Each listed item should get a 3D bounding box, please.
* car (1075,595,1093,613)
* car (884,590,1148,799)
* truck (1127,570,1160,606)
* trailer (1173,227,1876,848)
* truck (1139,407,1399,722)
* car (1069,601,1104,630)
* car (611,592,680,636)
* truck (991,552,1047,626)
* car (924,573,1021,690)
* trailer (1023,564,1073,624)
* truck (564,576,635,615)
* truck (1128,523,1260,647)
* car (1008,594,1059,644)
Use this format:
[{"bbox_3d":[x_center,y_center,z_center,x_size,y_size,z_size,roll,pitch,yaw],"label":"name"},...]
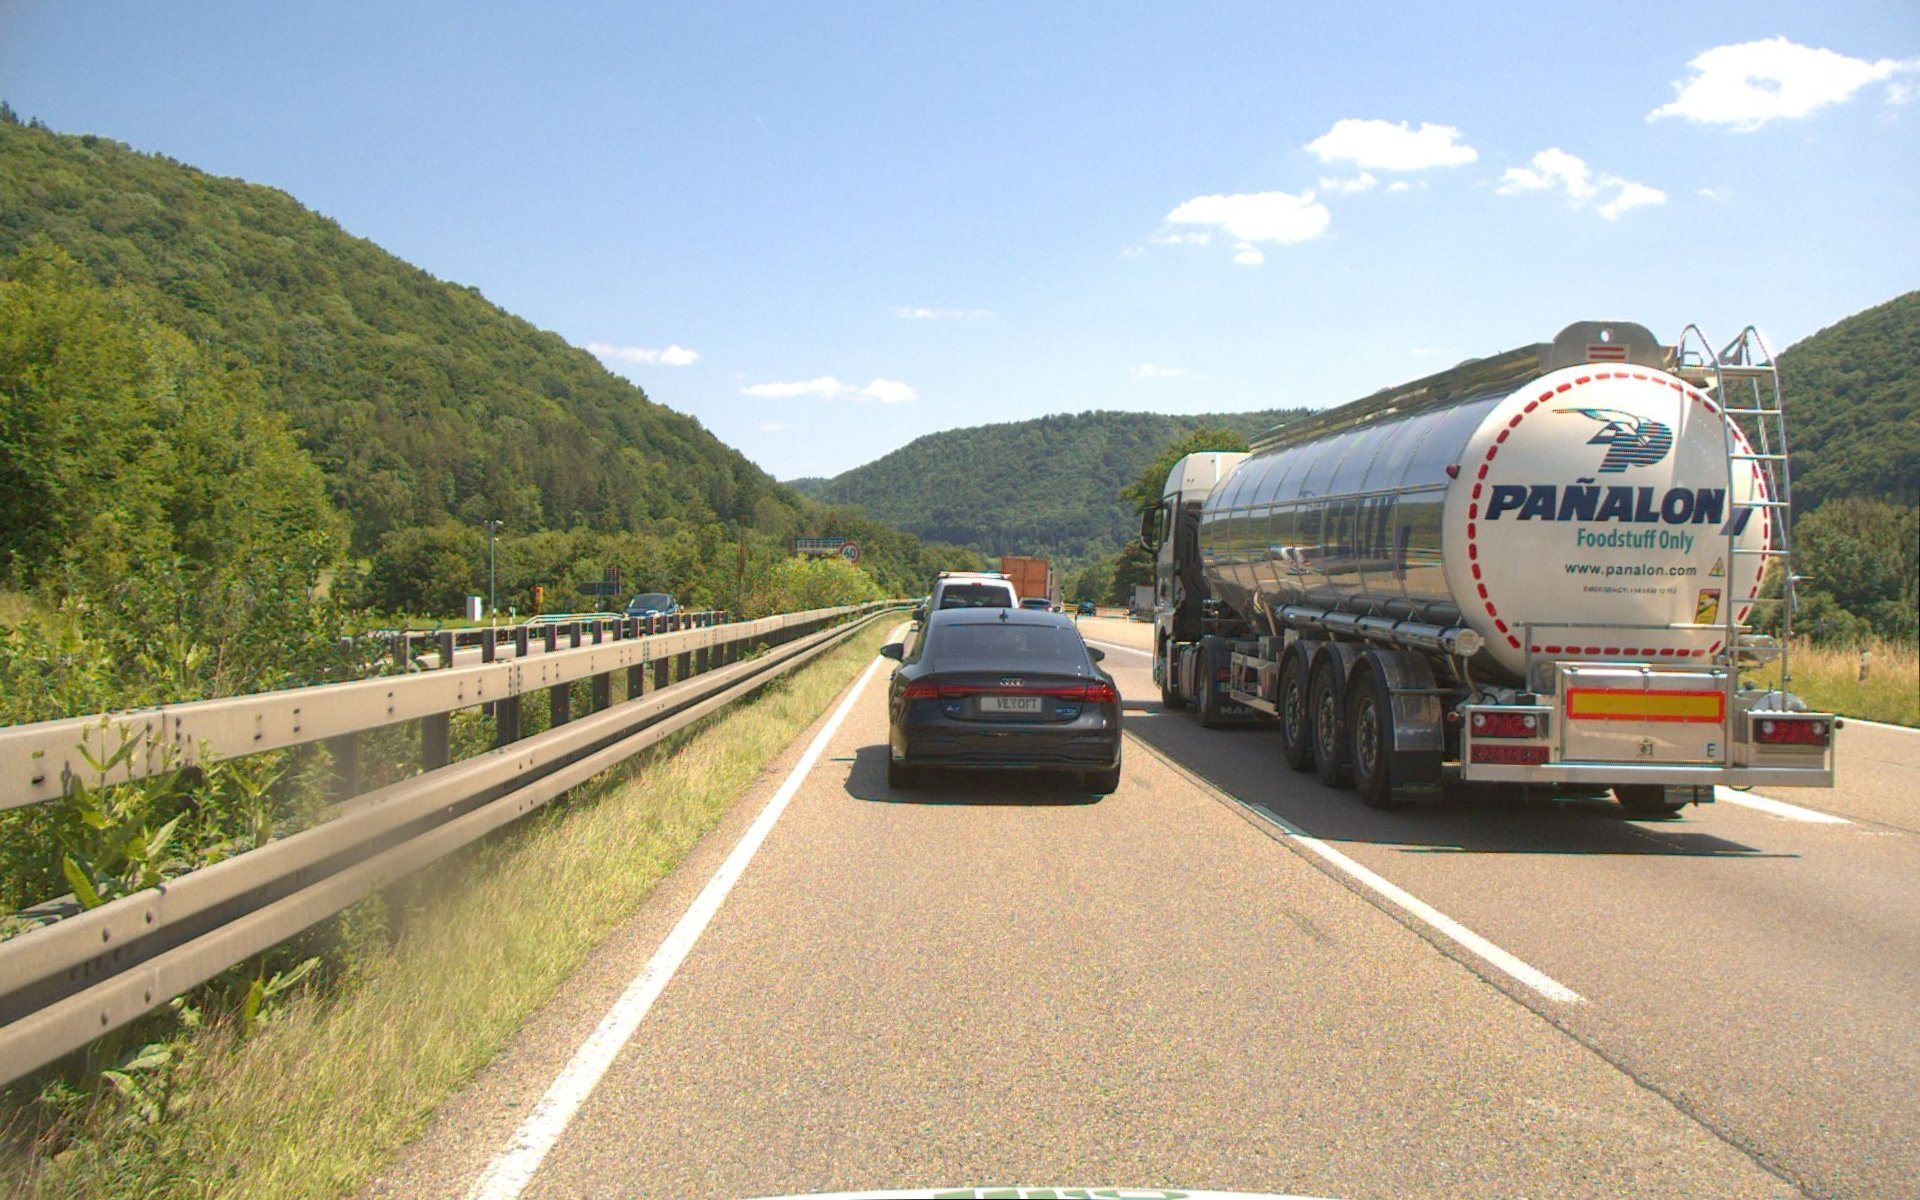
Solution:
[{"bbox_3d":[14.391,0.429,192.380,1.951,2.049,4.003,0,0,6],"label":"car"},{"bbox_3d":[0.318,0.683,14.103,1.813,1.514,4.079,1,0,-4],"label":"car"},{"bbox_3d":[23.993,-1.545,215.836,3.712,4.491,14.967,1,0,8],"label":"truck"},{"bbox_3d":[4.254,-0.403,16.138,2.487,3.801,11.888,1,0,-2],"label":"trailer"},{"bbox_3d":[4.064,-0.439,22.838,2.461,3.824,5.244,1,0,-2],"label":"truck"},{"bbox_3d":[6.987,0.845,91.674,1.711,1.557,4.000,0,0,1],"label":"car"},{"bbox_3d":[-12.264,0.535,64.784,1.883,1.649,4.560,0,0,-1],"label":"car"},{"bbox_3d":[3.391,-0.645,99.171,2.760,4.073,14.954,1,0,0],"label":"truck"},{"bbox_3d":[0.169,0.505,28.569,1.544,1.865,3.999,1,0,-1],"label":"car"},{"bbox_3d":[6.791,-0.485,128.977,2.954,4.459,10.982,1,0,-2],"label":"trailer"},{"bbox_3d":[-26.285,-0.302,120.945,3.508,2.742,8.446,0,0,-1],"label":"truck"},{"bbox_3d":[8.474,-0.528,62.057,2.760,4.073,14.954,1,0,0],"label":"truck"},{"bbox_3d":[3.091,0.767,70.257,1.953,2.038,4.000,0,0,0],"label":"car"}]
